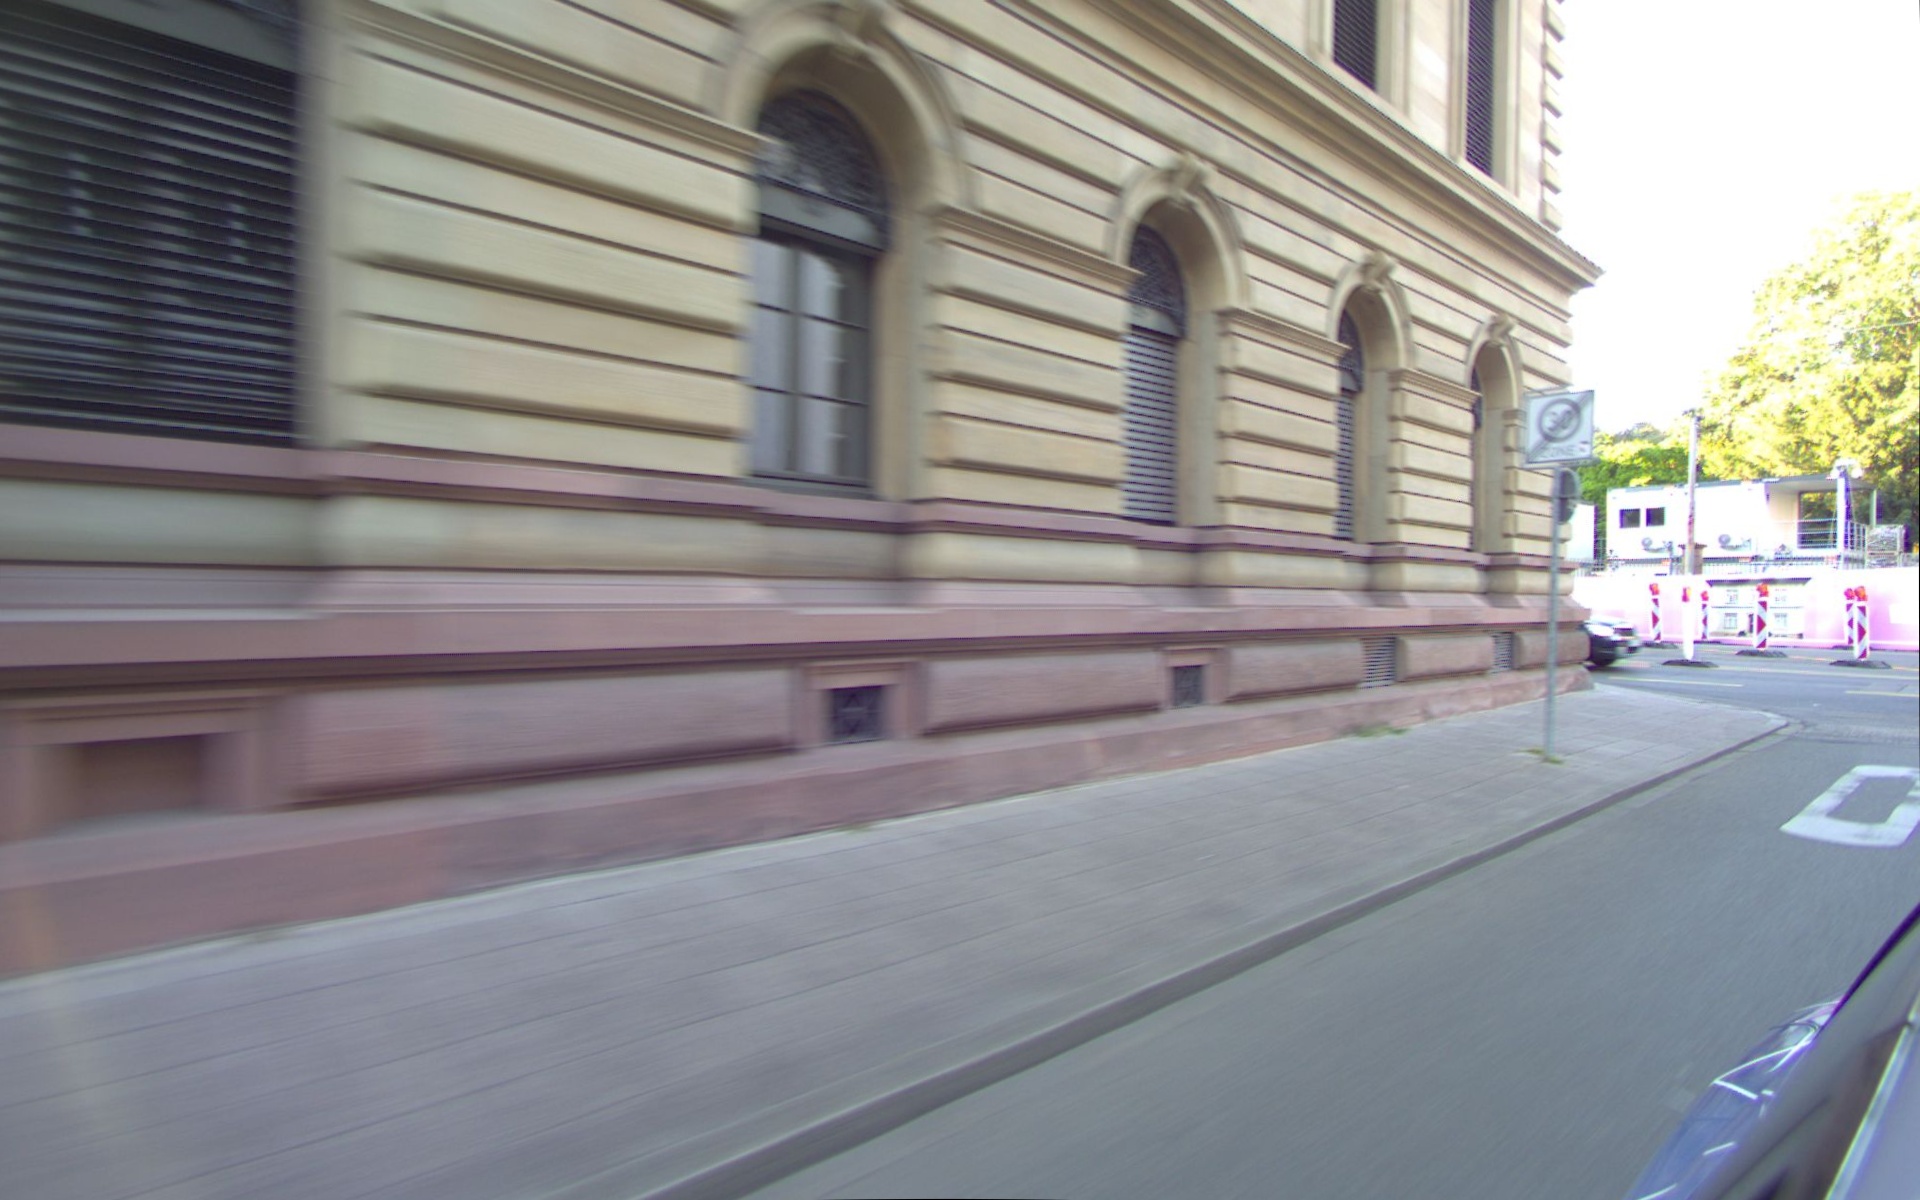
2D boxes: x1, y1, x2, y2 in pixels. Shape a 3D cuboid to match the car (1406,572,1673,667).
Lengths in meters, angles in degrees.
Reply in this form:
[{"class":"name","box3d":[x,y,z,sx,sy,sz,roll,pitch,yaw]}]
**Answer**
[{"class":"car","box3d":[11.423,0.316,20.198,1.901,1.678,4.250,0,1,-37]}]
